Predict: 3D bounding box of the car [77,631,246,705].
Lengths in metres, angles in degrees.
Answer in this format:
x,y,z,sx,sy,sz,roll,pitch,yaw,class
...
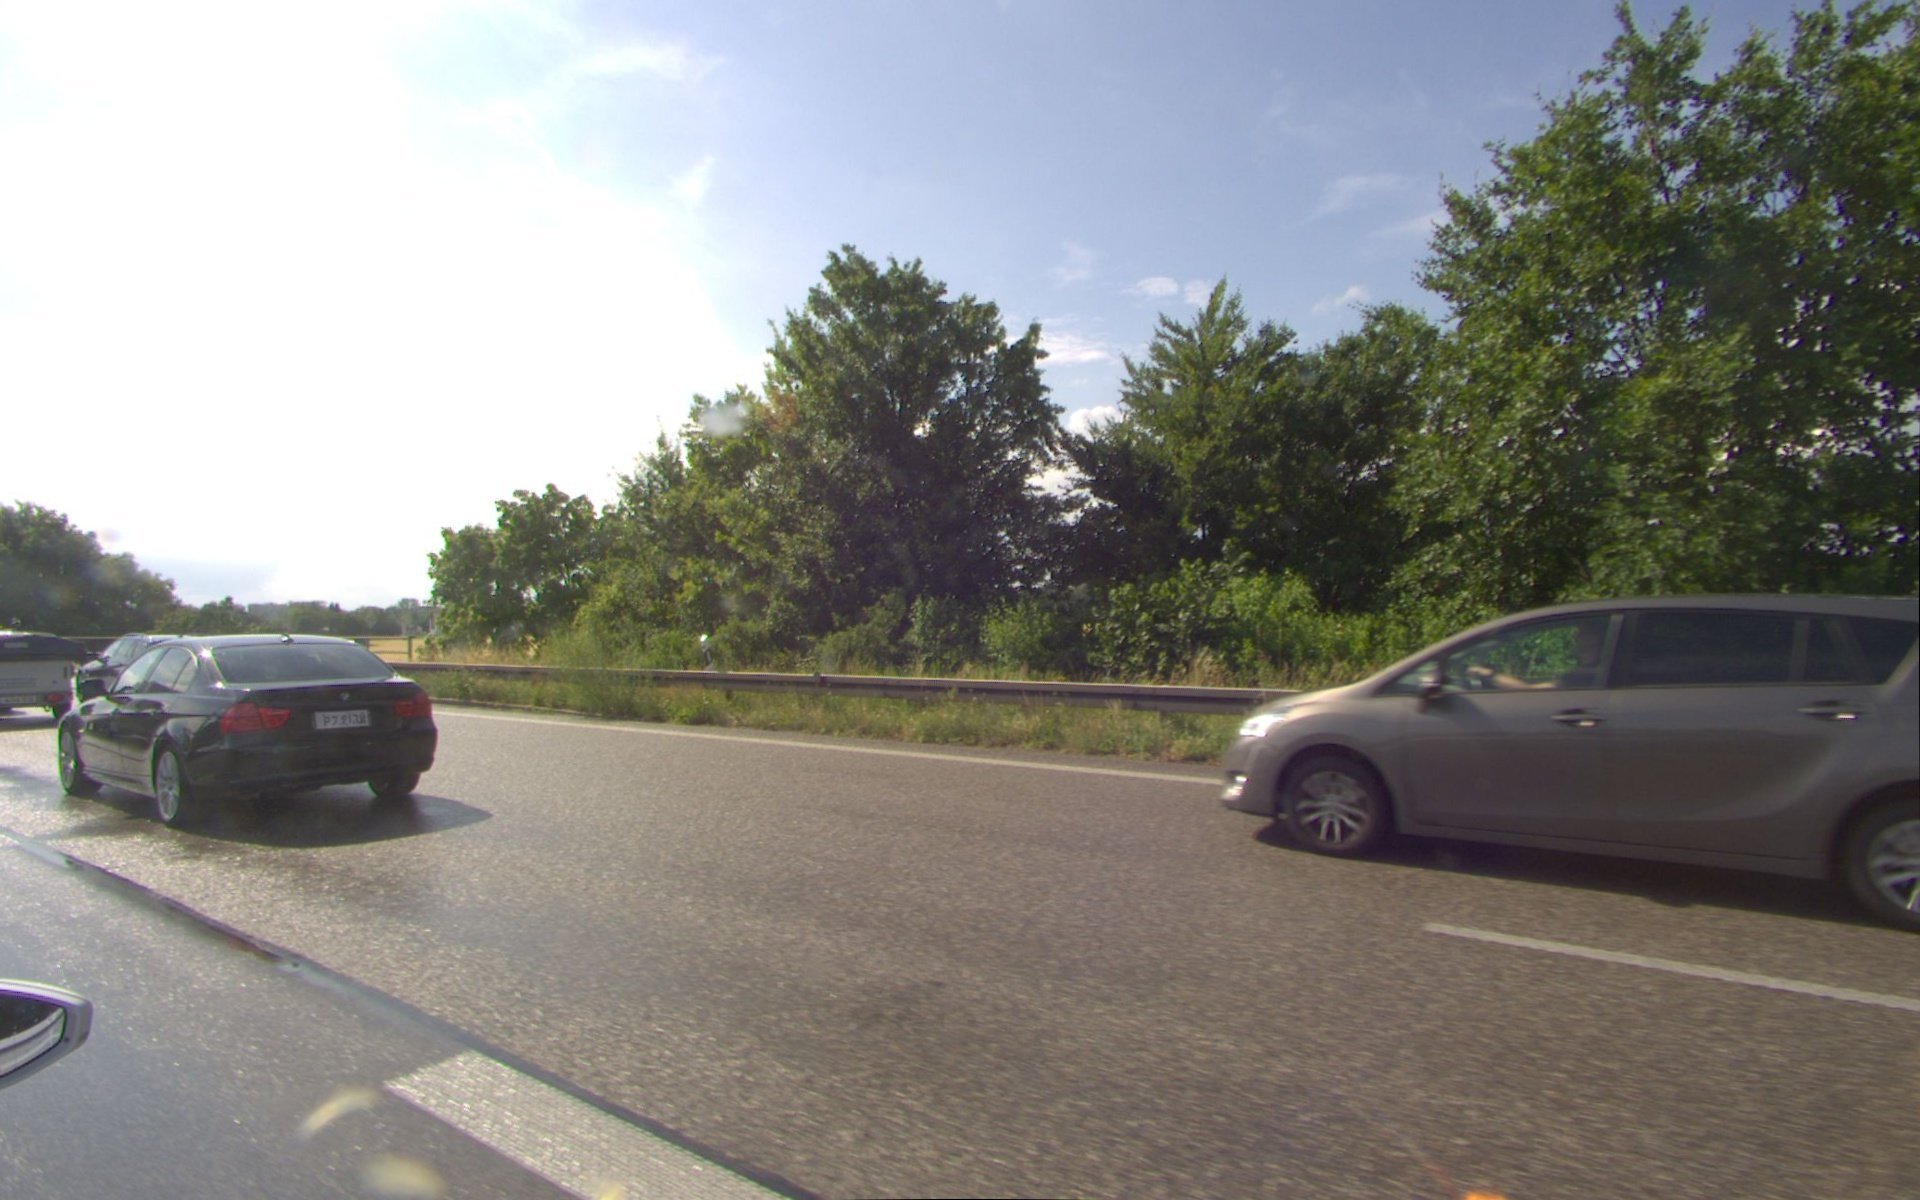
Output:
x,y,z,sx,sy,sz,roll,pitch,yaw,class
-16.830,1.354,21.045,4.234,1.419,1.765,-1,-2,37,car

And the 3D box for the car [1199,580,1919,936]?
x,y,z,sx,sy,sz,roll,pitch,yaw,class
3.853,0.761,6.107,4.327,1.633,1.783,-1,-1,36,car

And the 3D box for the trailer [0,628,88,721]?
x,y,z,sx,sy,sz,roll,pitch,yaw,class
-16.673,1.211,17.058,4.093,1.460,1.849,-1,-1,35,trailer

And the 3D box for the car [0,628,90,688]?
x,y,z,sx,sy,sz,roll,pitch,yaw,class
-25.098,1.516,27.029,3.623,1.502,1.667,-1,-1,35,car

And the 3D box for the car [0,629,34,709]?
x,y,z,sx,sy,sz,roll,pitch,yaw,class
-19.386,1.285,19.010,4.201,1.460,1.849,-1,-1,36,car

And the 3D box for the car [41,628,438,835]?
x,y,z,sx,sy,sz,roll,pitch,yaw,class
-6.436,0.975,8.835,3.785,1.439,1.735,-1,-1,35,car
